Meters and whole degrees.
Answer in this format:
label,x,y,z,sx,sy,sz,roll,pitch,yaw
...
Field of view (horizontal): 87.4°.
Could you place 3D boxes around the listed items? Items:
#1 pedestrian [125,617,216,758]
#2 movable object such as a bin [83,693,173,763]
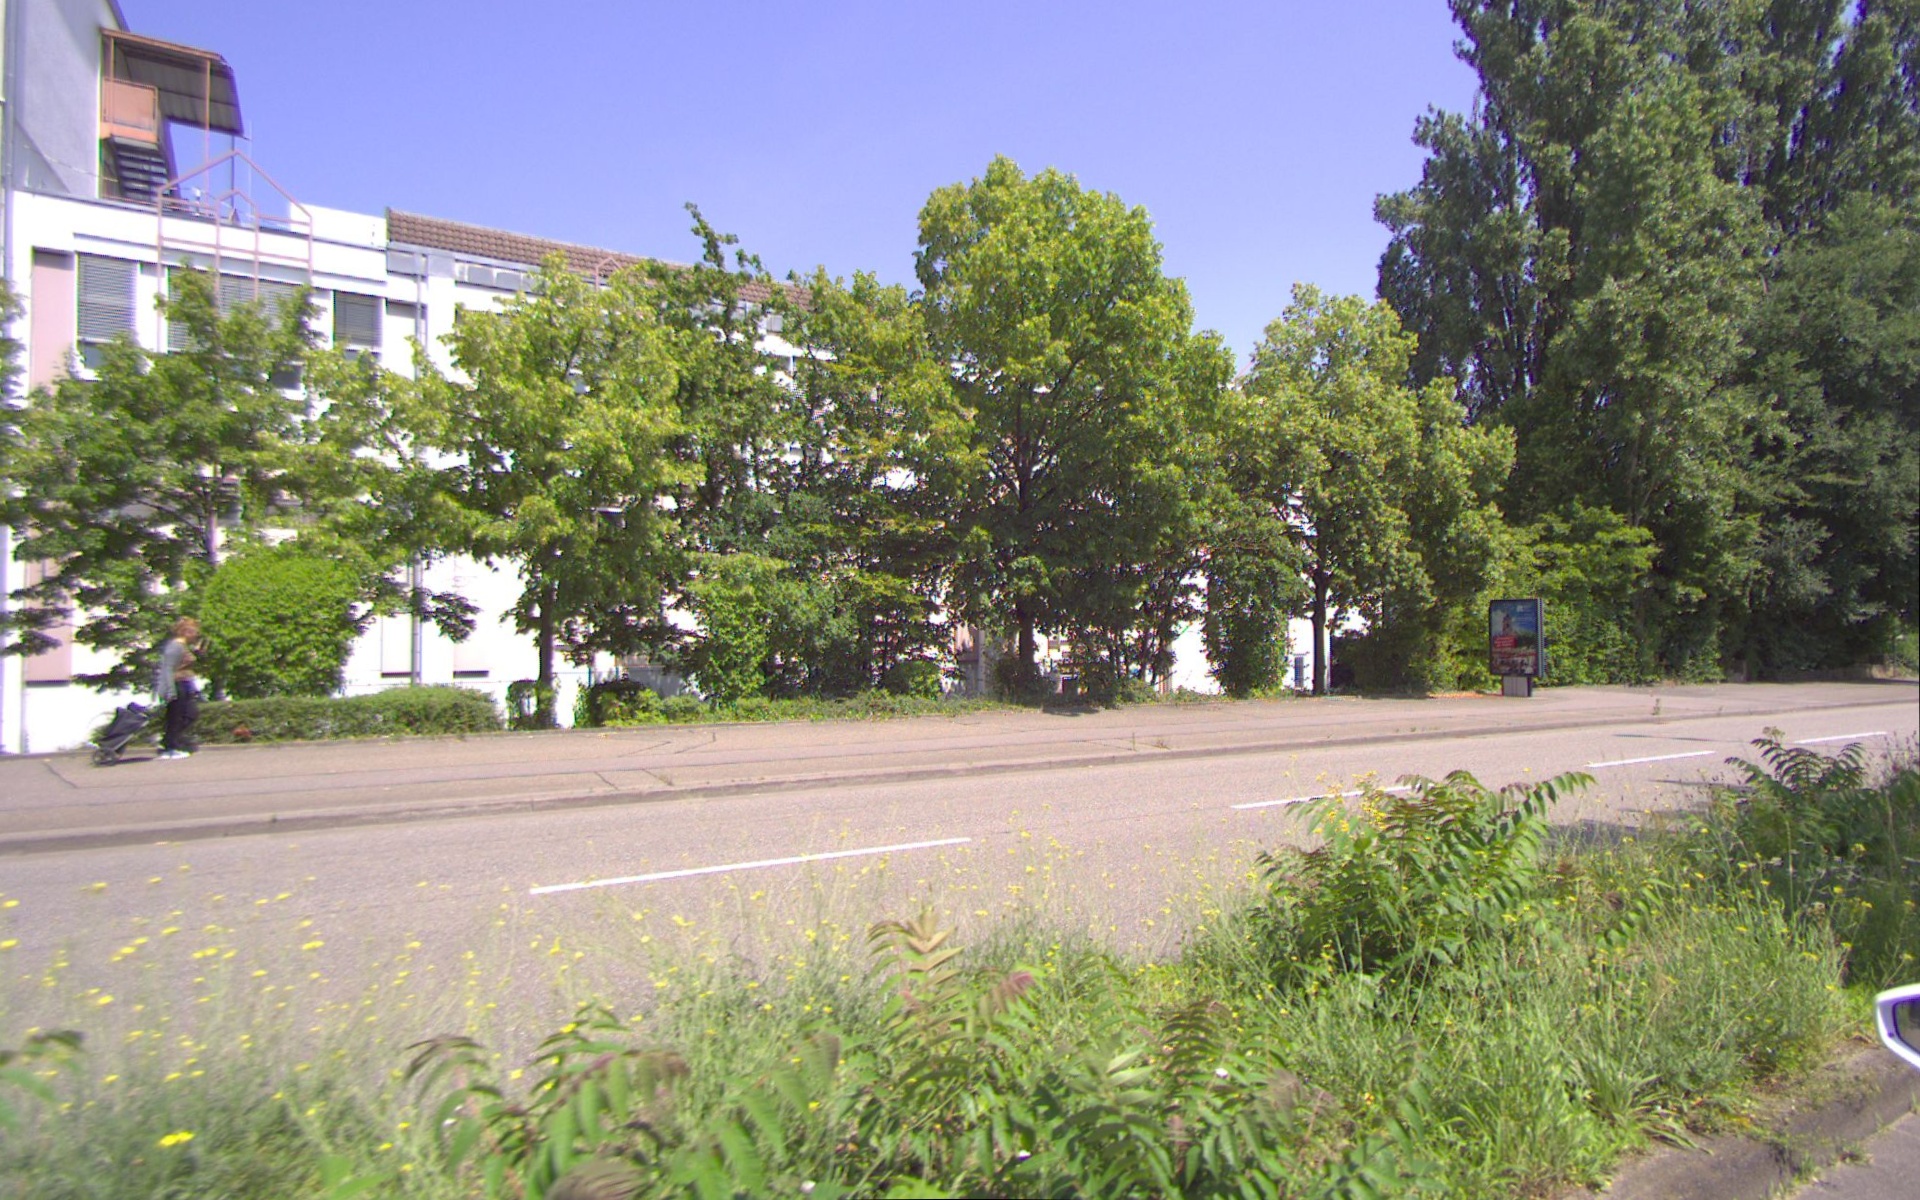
label,x,y,z,sx,sy,sz,roll,pitch,yaw
pedestrian,-9.090,0.987,11.591,0.719,1.565,0.630,1,-2,-31
movable object such as a bin,-9.176,1.400,11.094,0.642,0.714,0.427,1,-2,-22
